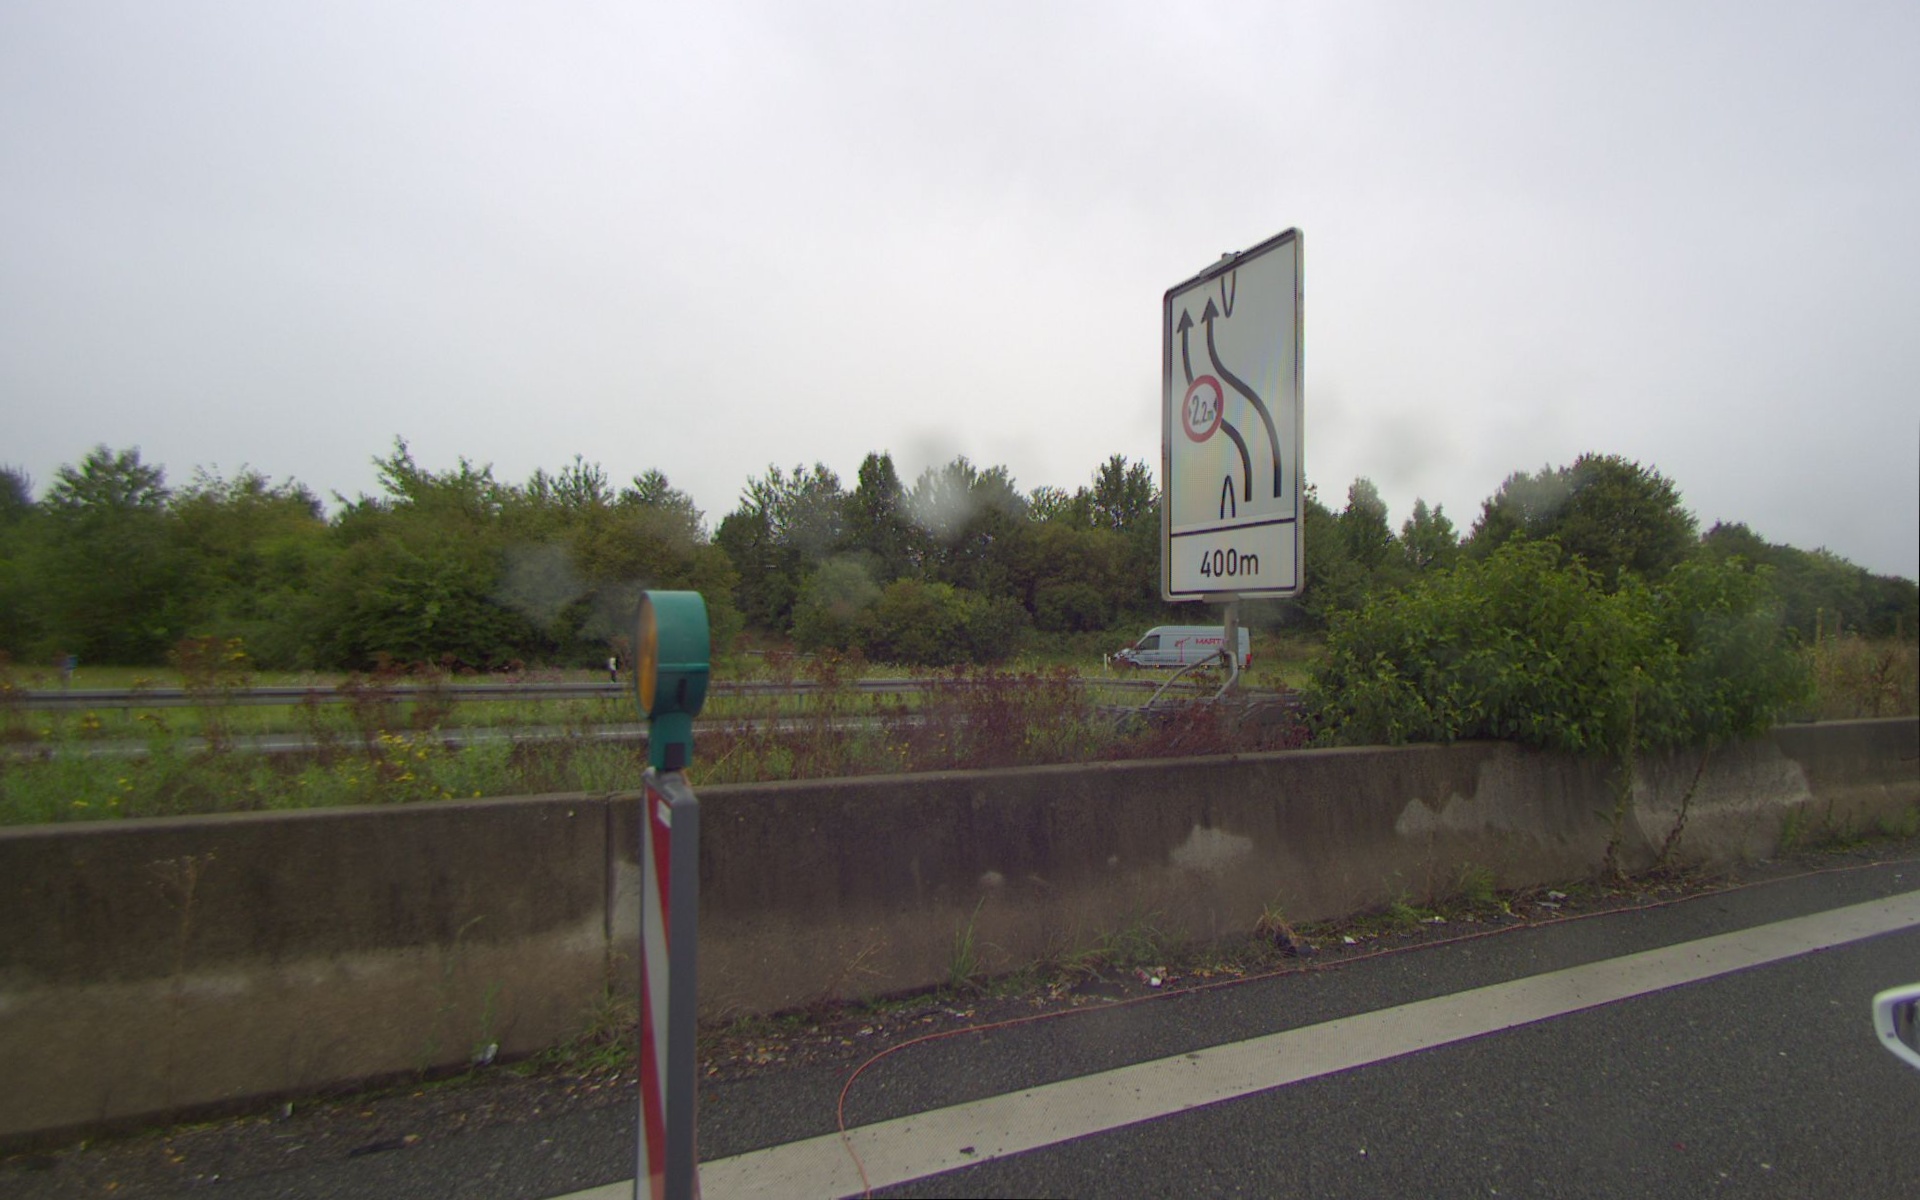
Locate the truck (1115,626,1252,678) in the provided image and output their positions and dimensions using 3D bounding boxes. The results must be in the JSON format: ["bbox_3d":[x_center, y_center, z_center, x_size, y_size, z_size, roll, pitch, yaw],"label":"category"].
[{"bbox_3d":[10.809,2.514,48.982,6.303,2.460,2.001,0,-2,6],"label":"truck"}]
